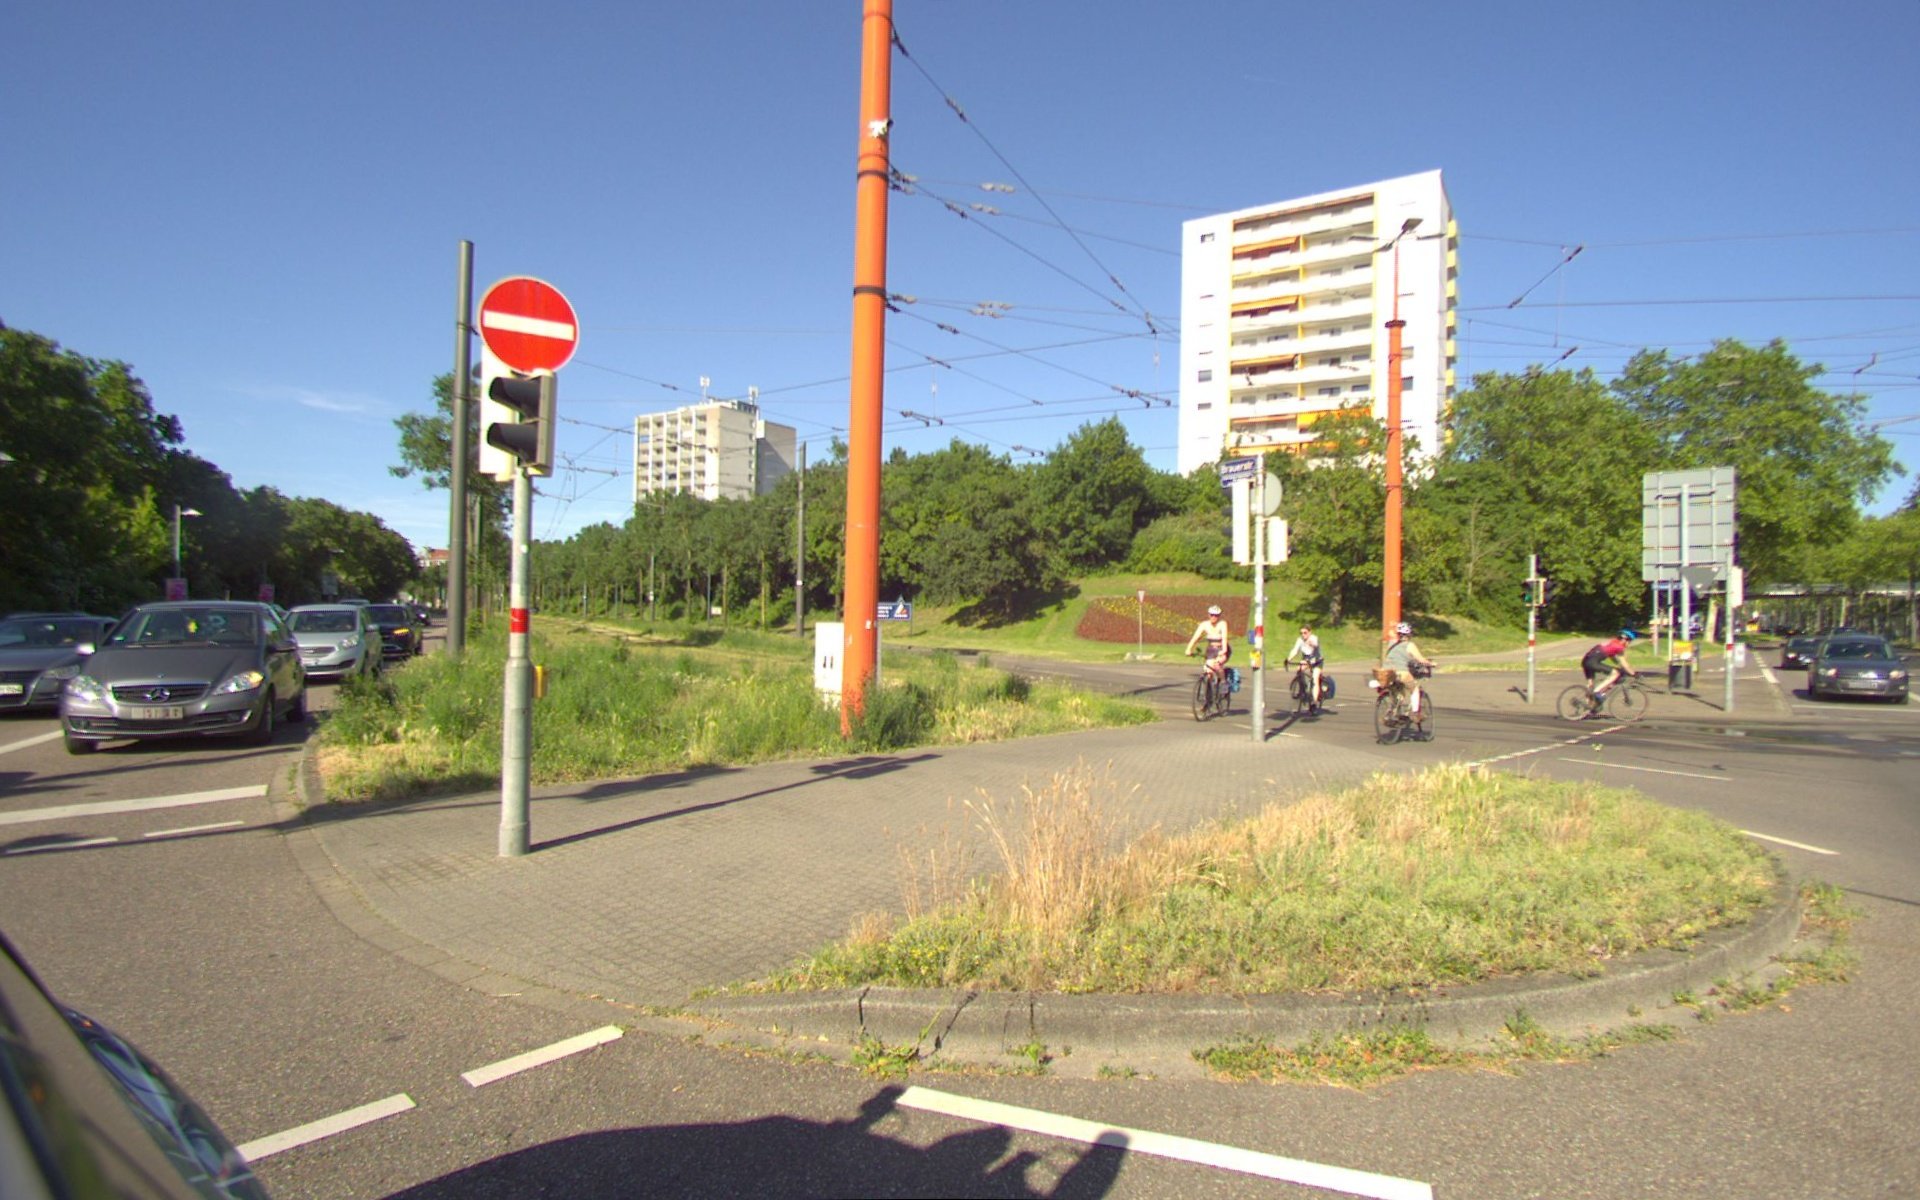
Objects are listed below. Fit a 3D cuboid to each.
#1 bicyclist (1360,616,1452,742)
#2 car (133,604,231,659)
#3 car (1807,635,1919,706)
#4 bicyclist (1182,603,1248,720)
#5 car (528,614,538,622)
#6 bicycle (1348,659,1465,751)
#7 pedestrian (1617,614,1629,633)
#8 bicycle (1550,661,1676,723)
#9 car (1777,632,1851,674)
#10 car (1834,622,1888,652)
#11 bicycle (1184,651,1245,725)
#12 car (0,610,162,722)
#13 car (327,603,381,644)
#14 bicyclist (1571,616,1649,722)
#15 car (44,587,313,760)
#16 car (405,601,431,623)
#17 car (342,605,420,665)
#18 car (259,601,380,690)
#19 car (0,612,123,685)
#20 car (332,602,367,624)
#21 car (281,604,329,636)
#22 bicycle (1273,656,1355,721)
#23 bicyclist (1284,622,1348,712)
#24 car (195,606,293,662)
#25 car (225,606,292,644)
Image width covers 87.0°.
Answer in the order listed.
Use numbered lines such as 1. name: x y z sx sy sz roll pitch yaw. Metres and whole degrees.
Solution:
1. bicyclist: 6.100 1.053 13.851 0.814 1.634 0.894 2 -2 -41
2. car: -25.249 0.996 32.986 1.720 1.674 4.013 1 -1 -26
3. car: 22.696 1.700 25.485 1.915 1.507 3.994 0 0 38
4. bicyclist: 4.255 0.998 16.891 0.888 1.881 0.915 0 0 27
5. car: -77.852 3.243 184.619 1.551 1.431 3.922 0 -1 -26
6. bicycle: 6.167 1.402 13.927 1.886 1.139 0.741 2 -2 -41
7. pedestrian: 55.611 1.989 84.931 0.687 1.568 0.977 0 -3 44
8. bicycle: 12.112 1.701 18.803 1.889 1.079 0.692 0 0 0
9. car: 35.004 2.119 41.453 3.940 1.507 1.920 0 0 -44
10. car: 50.081 2.031 56.234 3.939 1.507 1.920 0 0 -43
11. bicycle: 4.268 1.432 16.891 0.577 1.079 1.898 0 0 27
12. car: -13.471 0.882 15.010 1.685 1.449 4.185 1 -1 -26
13. car: -26.652 0.994 44.598 1.720 1.674 4.013 0 0 -26
14. bicyclist: 12.055 1.258 18.780 0.977 1.927 0.687 0 0 0
15. car: -8.906 0.729 11.908 1.720 1.653 4.013 0 -1 -26
16. car: -42.185 0.932 78.848 1.666 1.674 3.840 0 0 -26
17. car: -17.170 1.010 30.140 1.720 1.674 4.013 1 -1 -26
18. car: -13.352 0.860 21.305 1.720 1.674 4.013 0 0 -26
19. car: -20.286 0.996 22.348 1.720 1.447 4.401 0 0 -25
20. car: -42.423 0.916 70.371 1.685 1.505 3.976 1 -1 -26
21. car: -33.569 0.994 51.923 1.625 1.541 3.909 0 0 -26
22. bicycle: 6.345 1.554 18.080 1.887 1.080 0.580 4 -3 -44
23. bicyclist: 6.373 1.181 18.119 0.910 1.536 0.721 0 0 -41
24. car: -20.102 0.896 28.540 1.657 1.456 3.739 0 0 -26
25. car: -29.328 1.021 42.413 1.685 1.505 3.976 1 -1 -26
